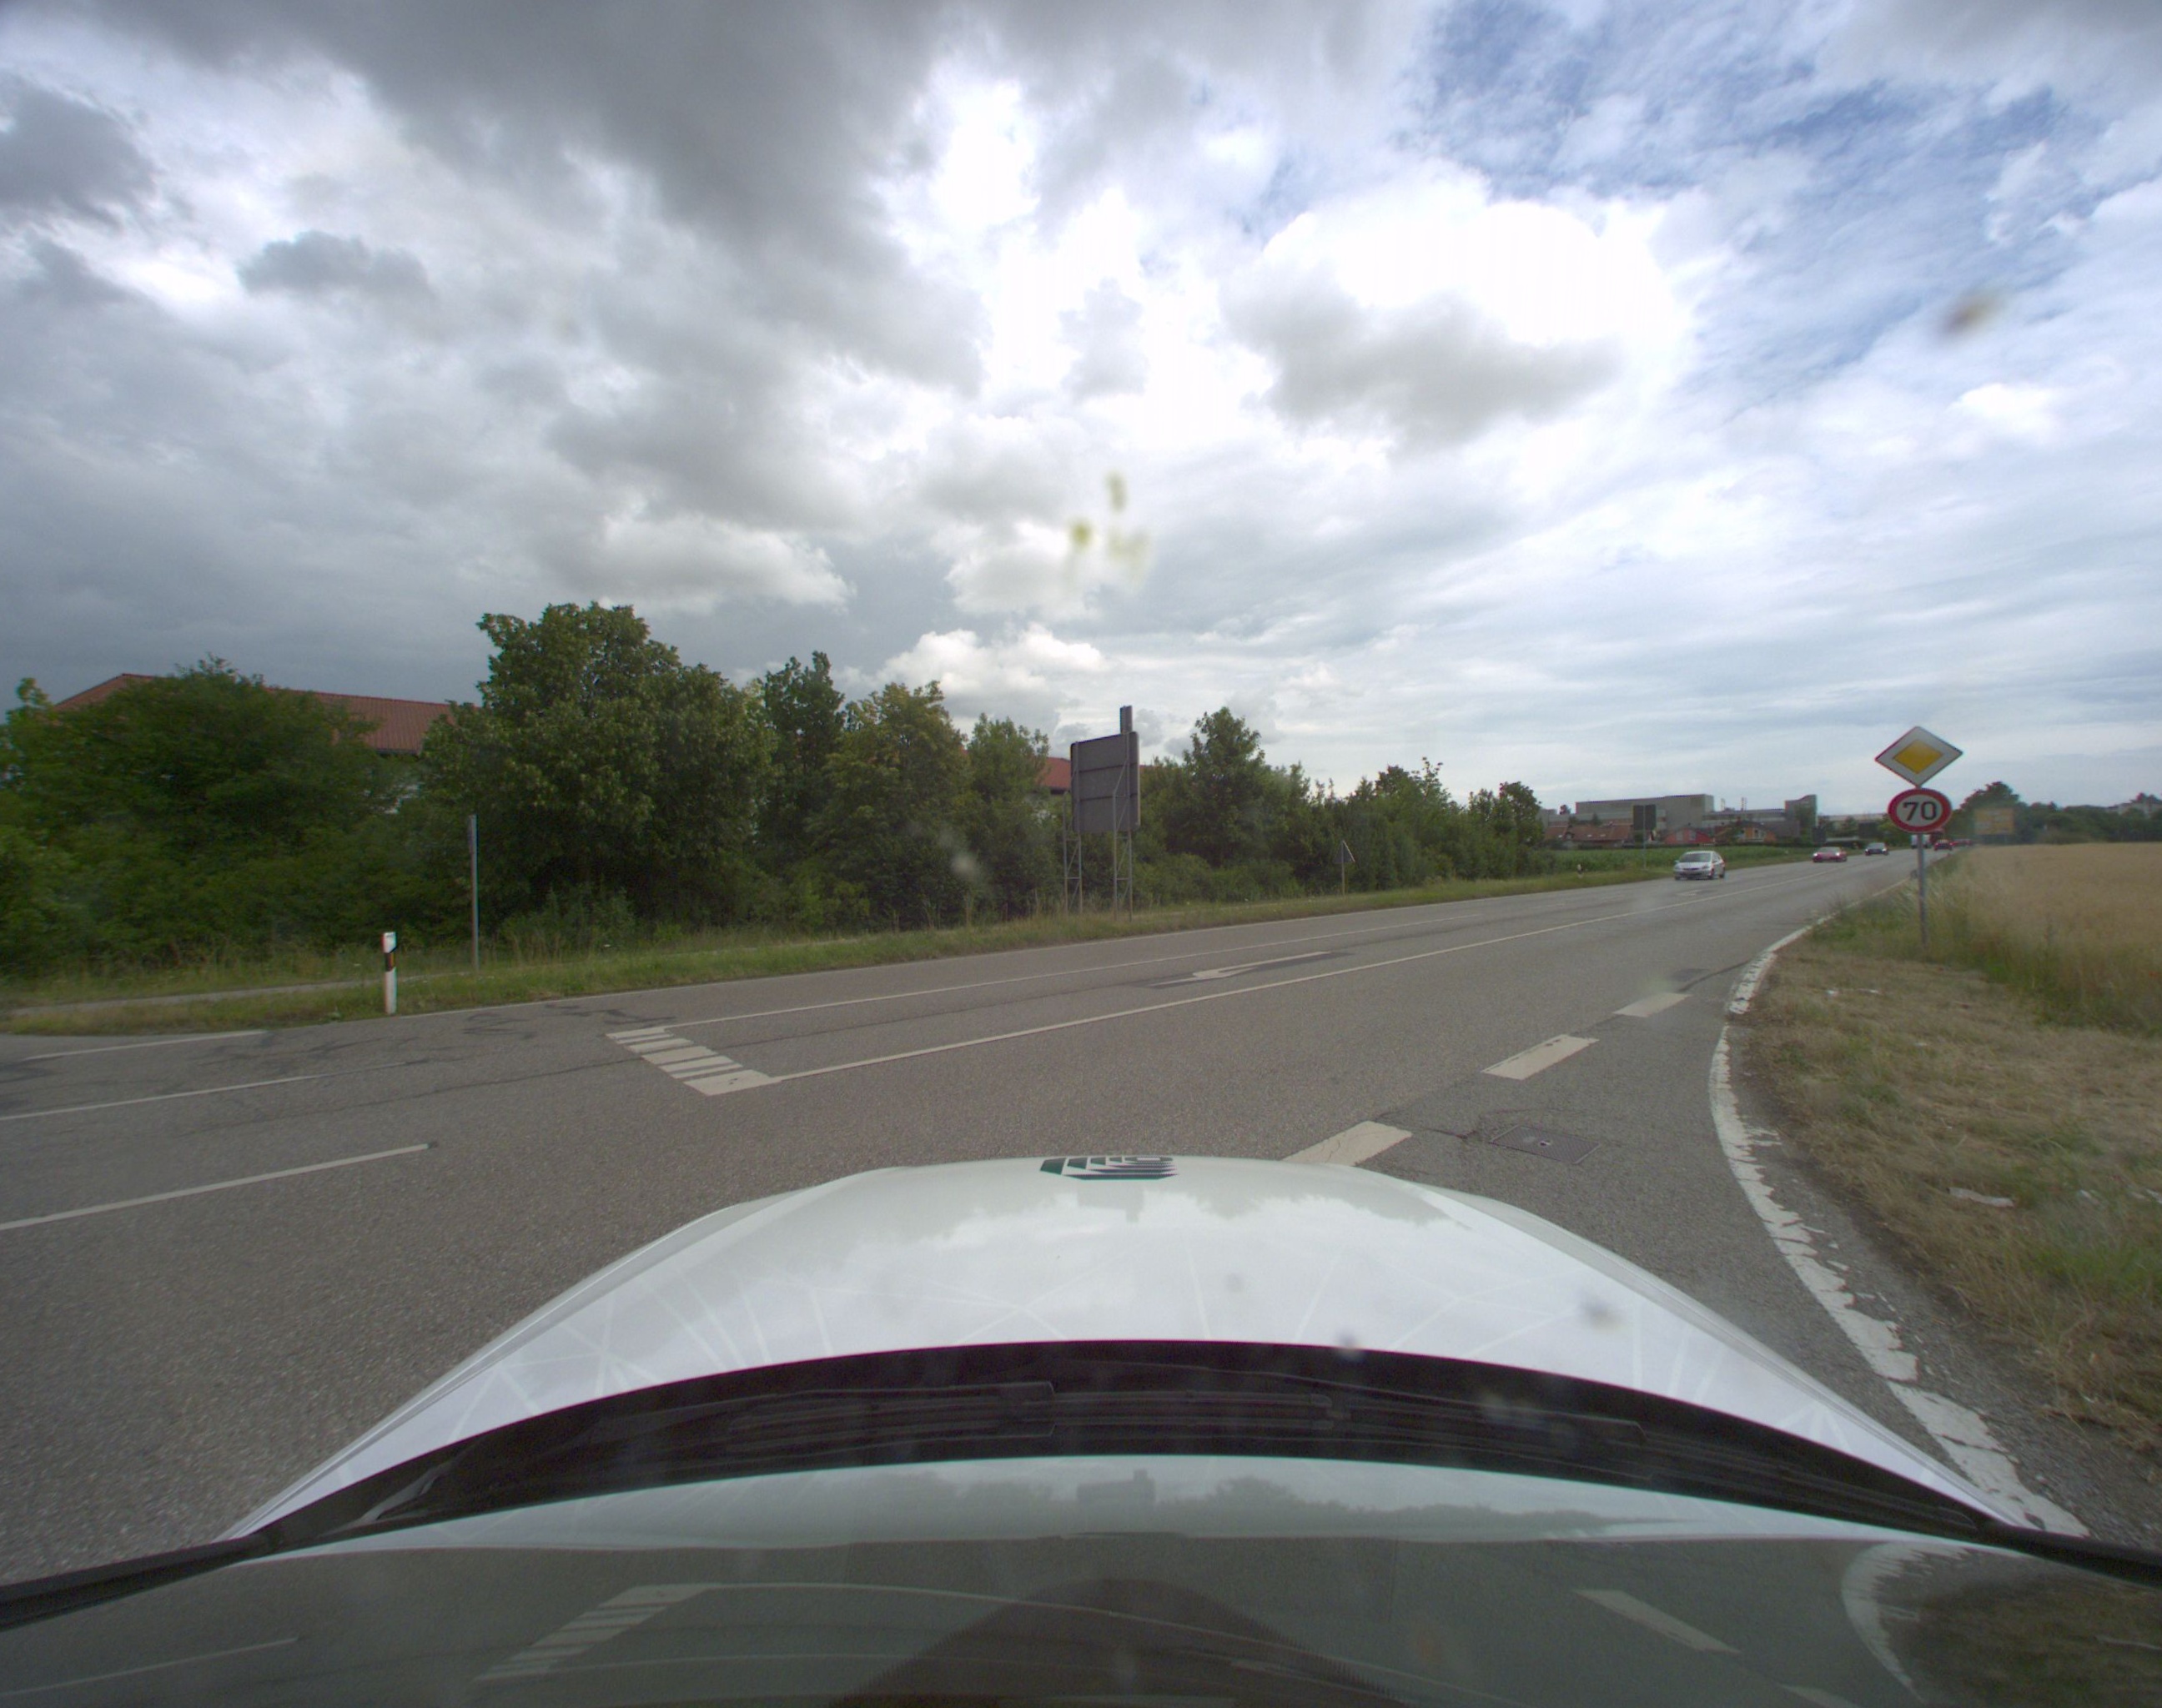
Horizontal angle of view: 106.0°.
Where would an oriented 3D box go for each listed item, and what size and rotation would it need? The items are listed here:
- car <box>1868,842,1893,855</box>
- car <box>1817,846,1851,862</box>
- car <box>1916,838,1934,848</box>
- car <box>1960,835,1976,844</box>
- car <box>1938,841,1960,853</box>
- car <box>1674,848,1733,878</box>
[{"bbox_3d":[92.767,-0.656,94.476,4.326,1.429,1.654,-1,-2,-42],"label":"car"},{"bbox_3d":[64.576,-0.014,69.802,4.235,1.241,1.755,-1,-1,-43],"label":"car"},{"bbox_3d":[150.454,-2.019,145.230,4.700,1.699,1.976,-1,-1,-41],"label":"car"},{"bbox_3d":[169.721,-2.788,155.800,4.020,1.728,1.843,-1,0,-39],"label":"car"},{"bbox_3d":[126.375,-1.035,118.553,4.020,1.566,1.843,-1,0,-39],"label":"car"},{"bbox_3d":[33.119,0.475,43.277,3.956,1.432,1.714,-1,-2,-42],"label":"car"}]
